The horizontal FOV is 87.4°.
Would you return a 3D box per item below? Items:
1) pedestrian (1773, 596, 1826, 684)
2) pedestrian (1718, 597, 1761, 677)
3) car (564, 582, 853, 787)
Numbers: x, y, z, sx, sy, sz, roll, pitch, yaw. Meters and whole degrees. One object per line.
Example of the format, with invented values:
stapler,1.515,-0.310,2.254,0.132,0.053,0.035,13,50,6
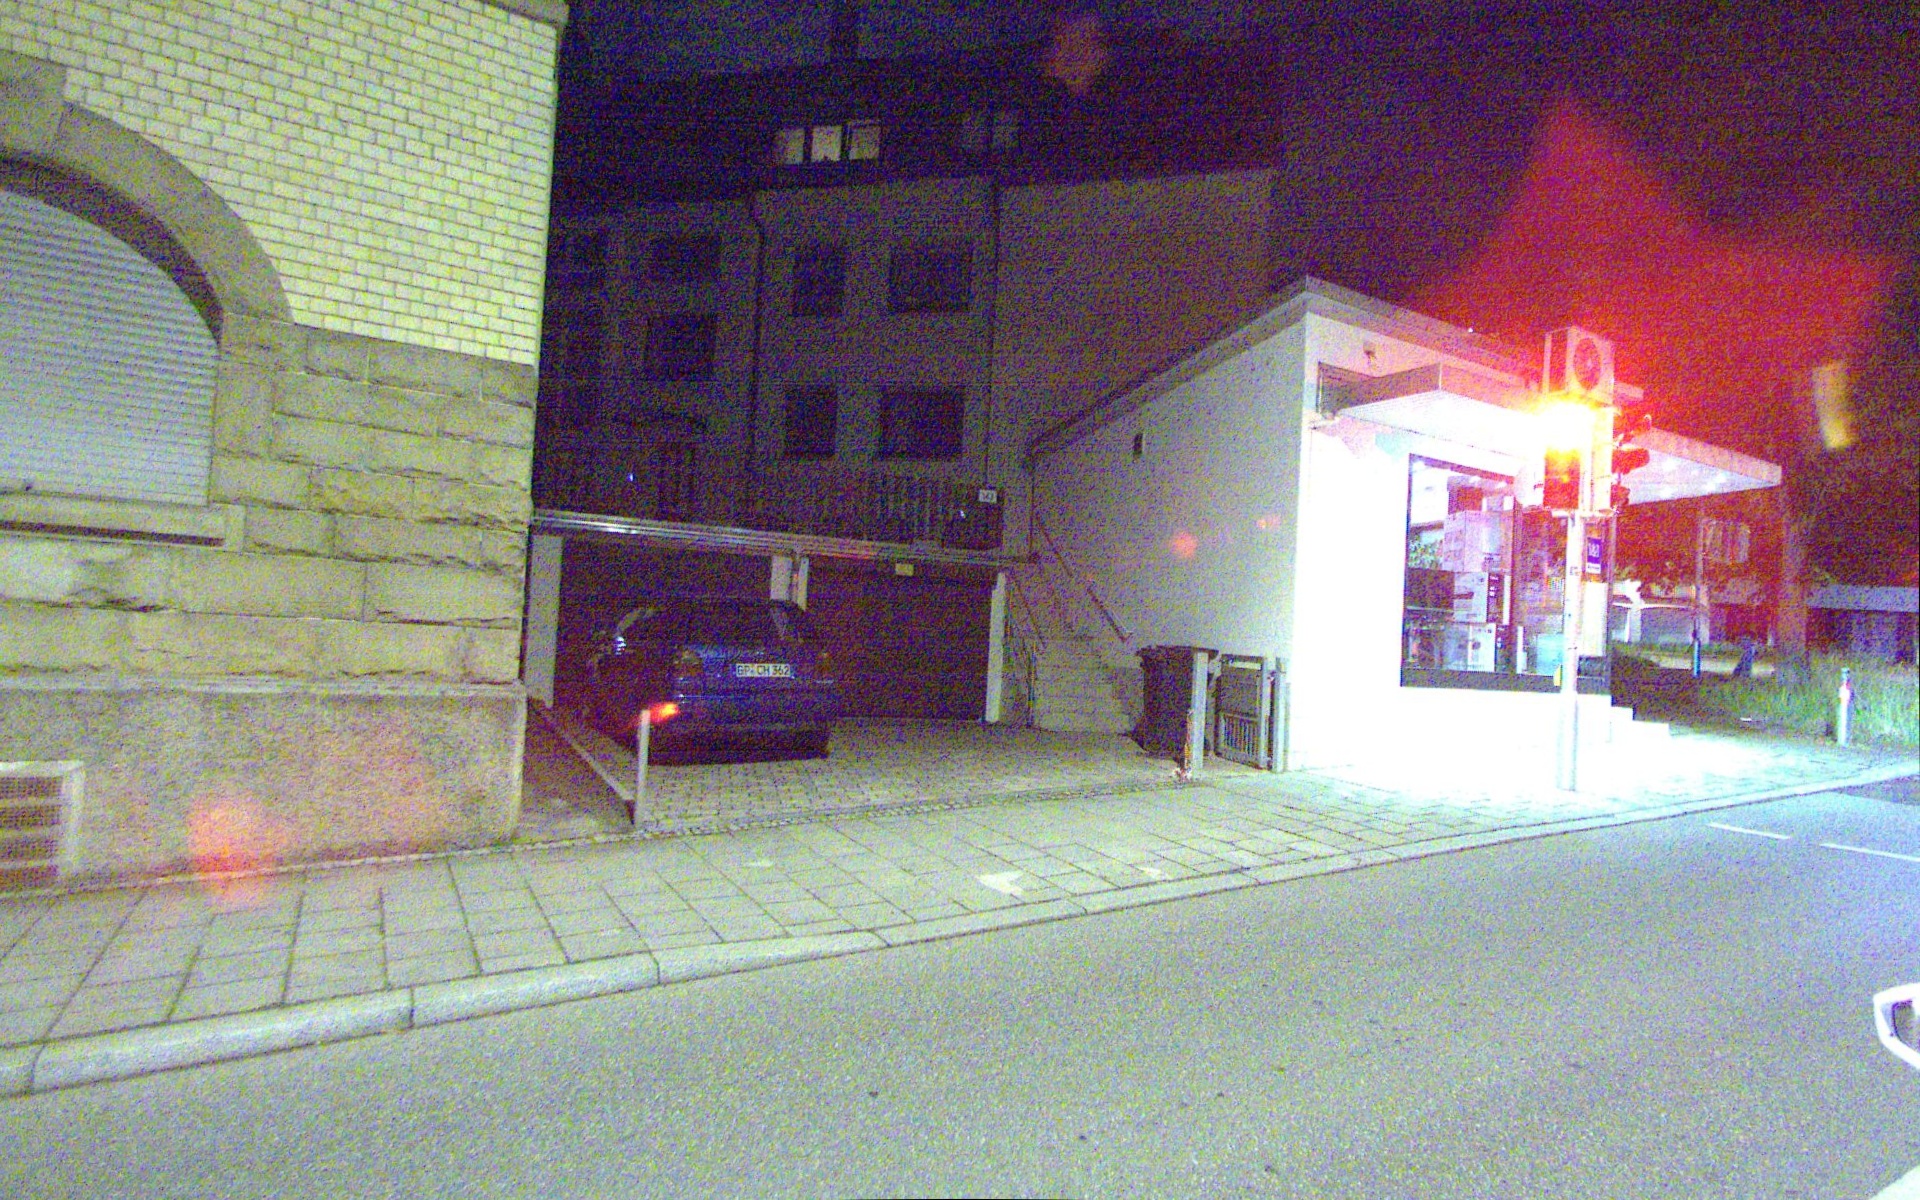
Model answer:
pedestrian,17.875,0.847,21.395,0.729,1.801,0.567,2,2,-30
pedestrian,17.552,0.827,22.624,0.537,1.754,0.567,2,0,-30
car,-2.554,0.634,9.546,1.700,1.460,3.631,2,1,-30
